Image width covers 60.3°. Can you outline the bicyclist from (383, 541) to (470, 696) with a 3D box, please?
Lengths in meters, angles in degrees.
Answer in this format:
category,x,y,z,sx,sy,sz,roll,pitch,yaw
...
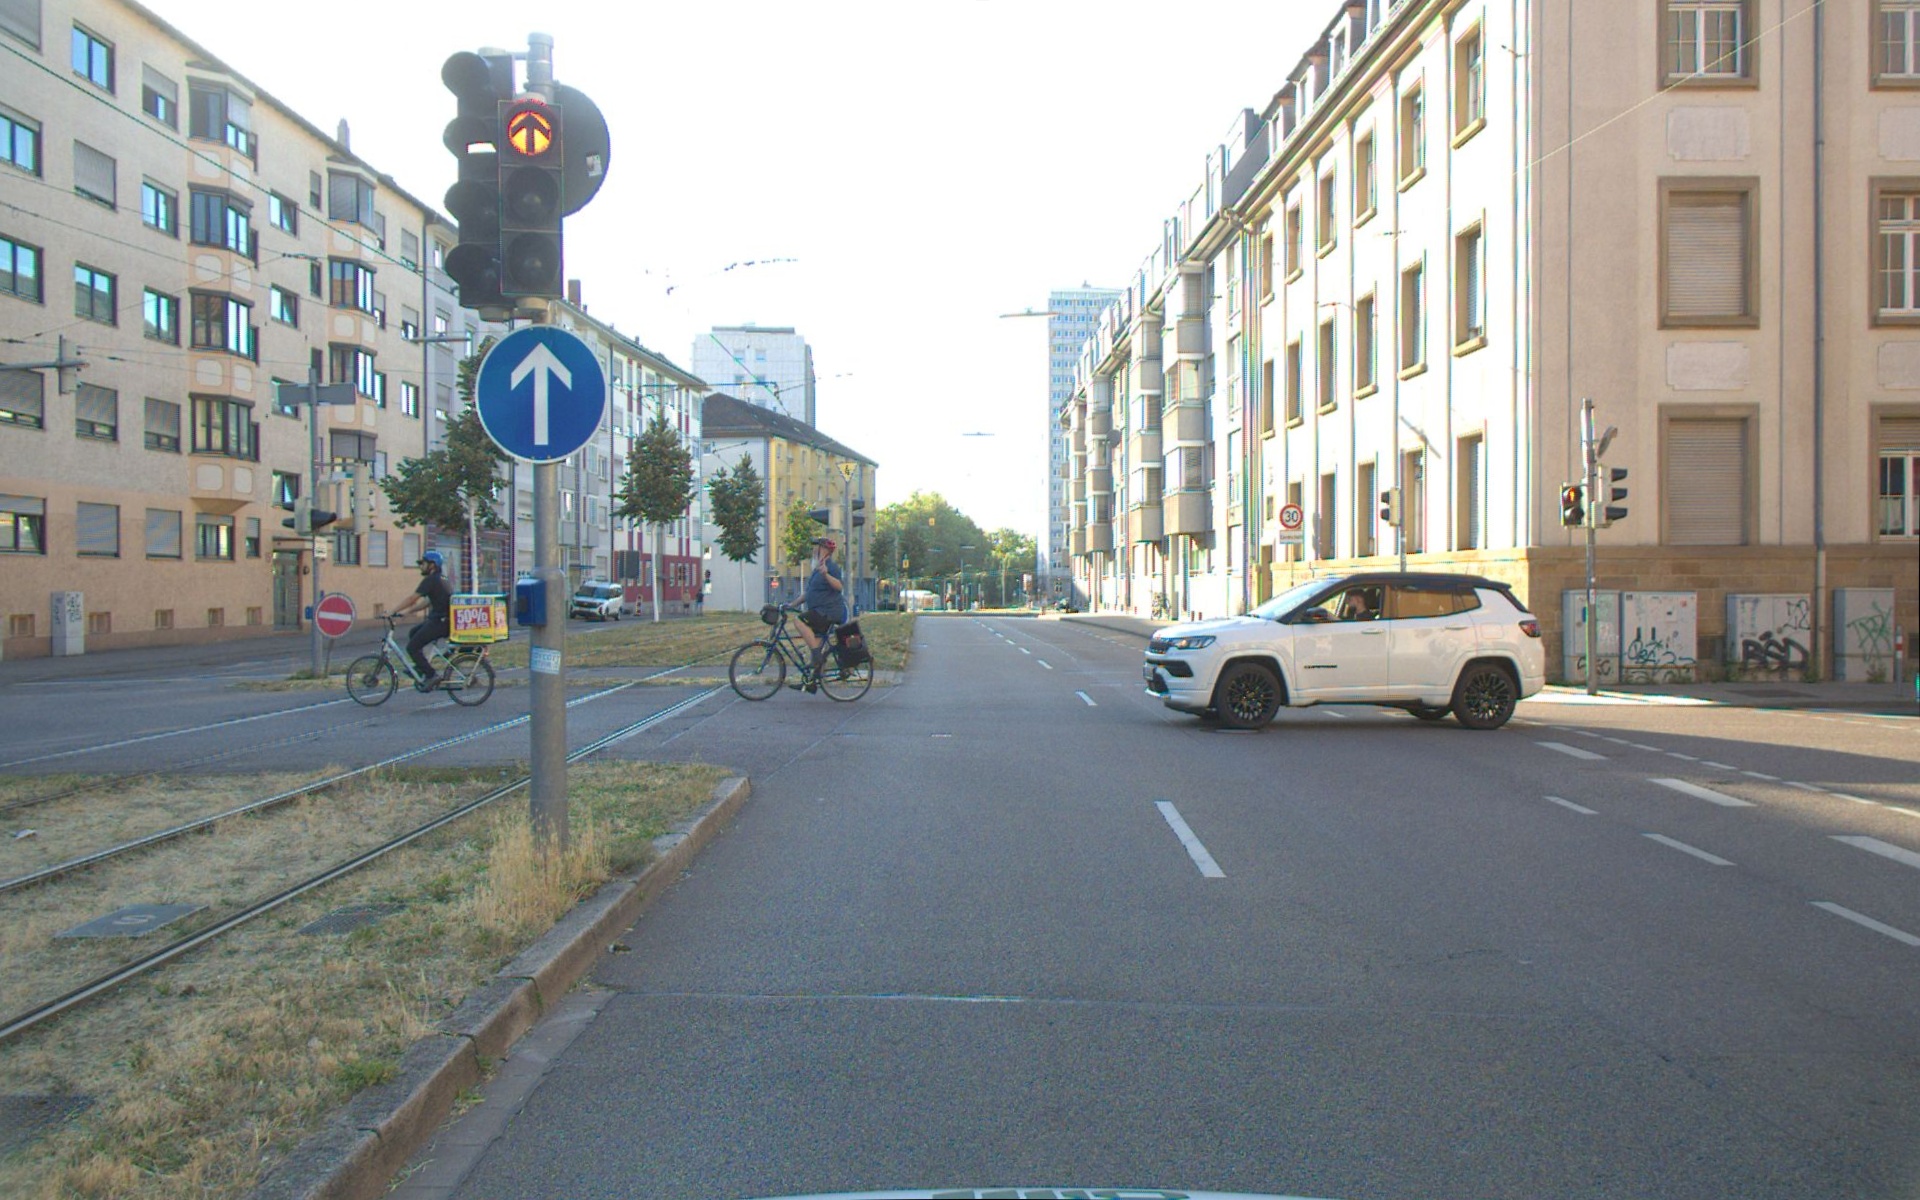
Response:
category,x,y,z,sx,sy,sz,roll,pitch,yaw
bicyclist,-6.312,0.218,19.606,0.777,1.784,0.720,1,-1,-3

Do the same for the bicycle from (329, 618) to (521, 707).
category,x,y,z,sx,sy,sz,roll,pitch,yaw
bicycle,-6.320,0.732,19.616,2.031,0.975,0.746,-1,0,-4

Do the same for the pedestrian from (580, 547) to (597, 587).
category,x,y,z,sx,sy,sz,roll,pitch,yaw
pedestrian,-19.445,-1.734,86.573,0.771,2.049,0.890,0,0,-4

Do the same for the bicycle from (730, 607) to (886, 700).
category,x,y,z,sx,sy,sz,roll,pitch,yaw
bicycle,-1.894,0.659,20.747,1.905,1.113,0.575,-1,0,-4

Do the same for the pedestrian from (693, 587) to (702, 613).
category,x,y,z,sx,sy,sz,roll,pitch,yaw
pedestrian,-17.469,0.010,110.115,0.485,1.687,0.408,-1,0,-1

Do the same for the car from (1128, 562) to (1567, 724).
category,x,y,z,sx,sy,sz,roll,pitch,yaw
car,4.186,0.438,18.285,4.333,1.670,1.997,0,0,-6

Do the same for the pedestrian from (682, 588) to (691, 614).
category,x,y,z,sx,sy,sz,roll,pitch,yaw
pedestrian,-18.165,0.048,109.759,0.485,1.687,0.408,-1,0,-1

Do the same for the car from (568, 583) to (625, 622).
category,x,y,z,sx,sy,sz,roll,pitch,yaw
car,-17.781,0.128,80.997,1.774,1.829,4.245,1,0,1

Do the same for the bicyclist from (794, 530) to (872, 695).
category,x,y,z,sx,sy,sz,roll,pitch,yaw
bicyclist,-1.586,0.152,20.768,0.940,2.023,0.672,-1,0,-4

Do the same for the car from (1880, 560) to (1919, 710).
category,x,y,z,sx,sy,sz,roll,pitch,yaw
car,13.416,0.401,19.196,4.368,1.759,2.000,0,-1,0
